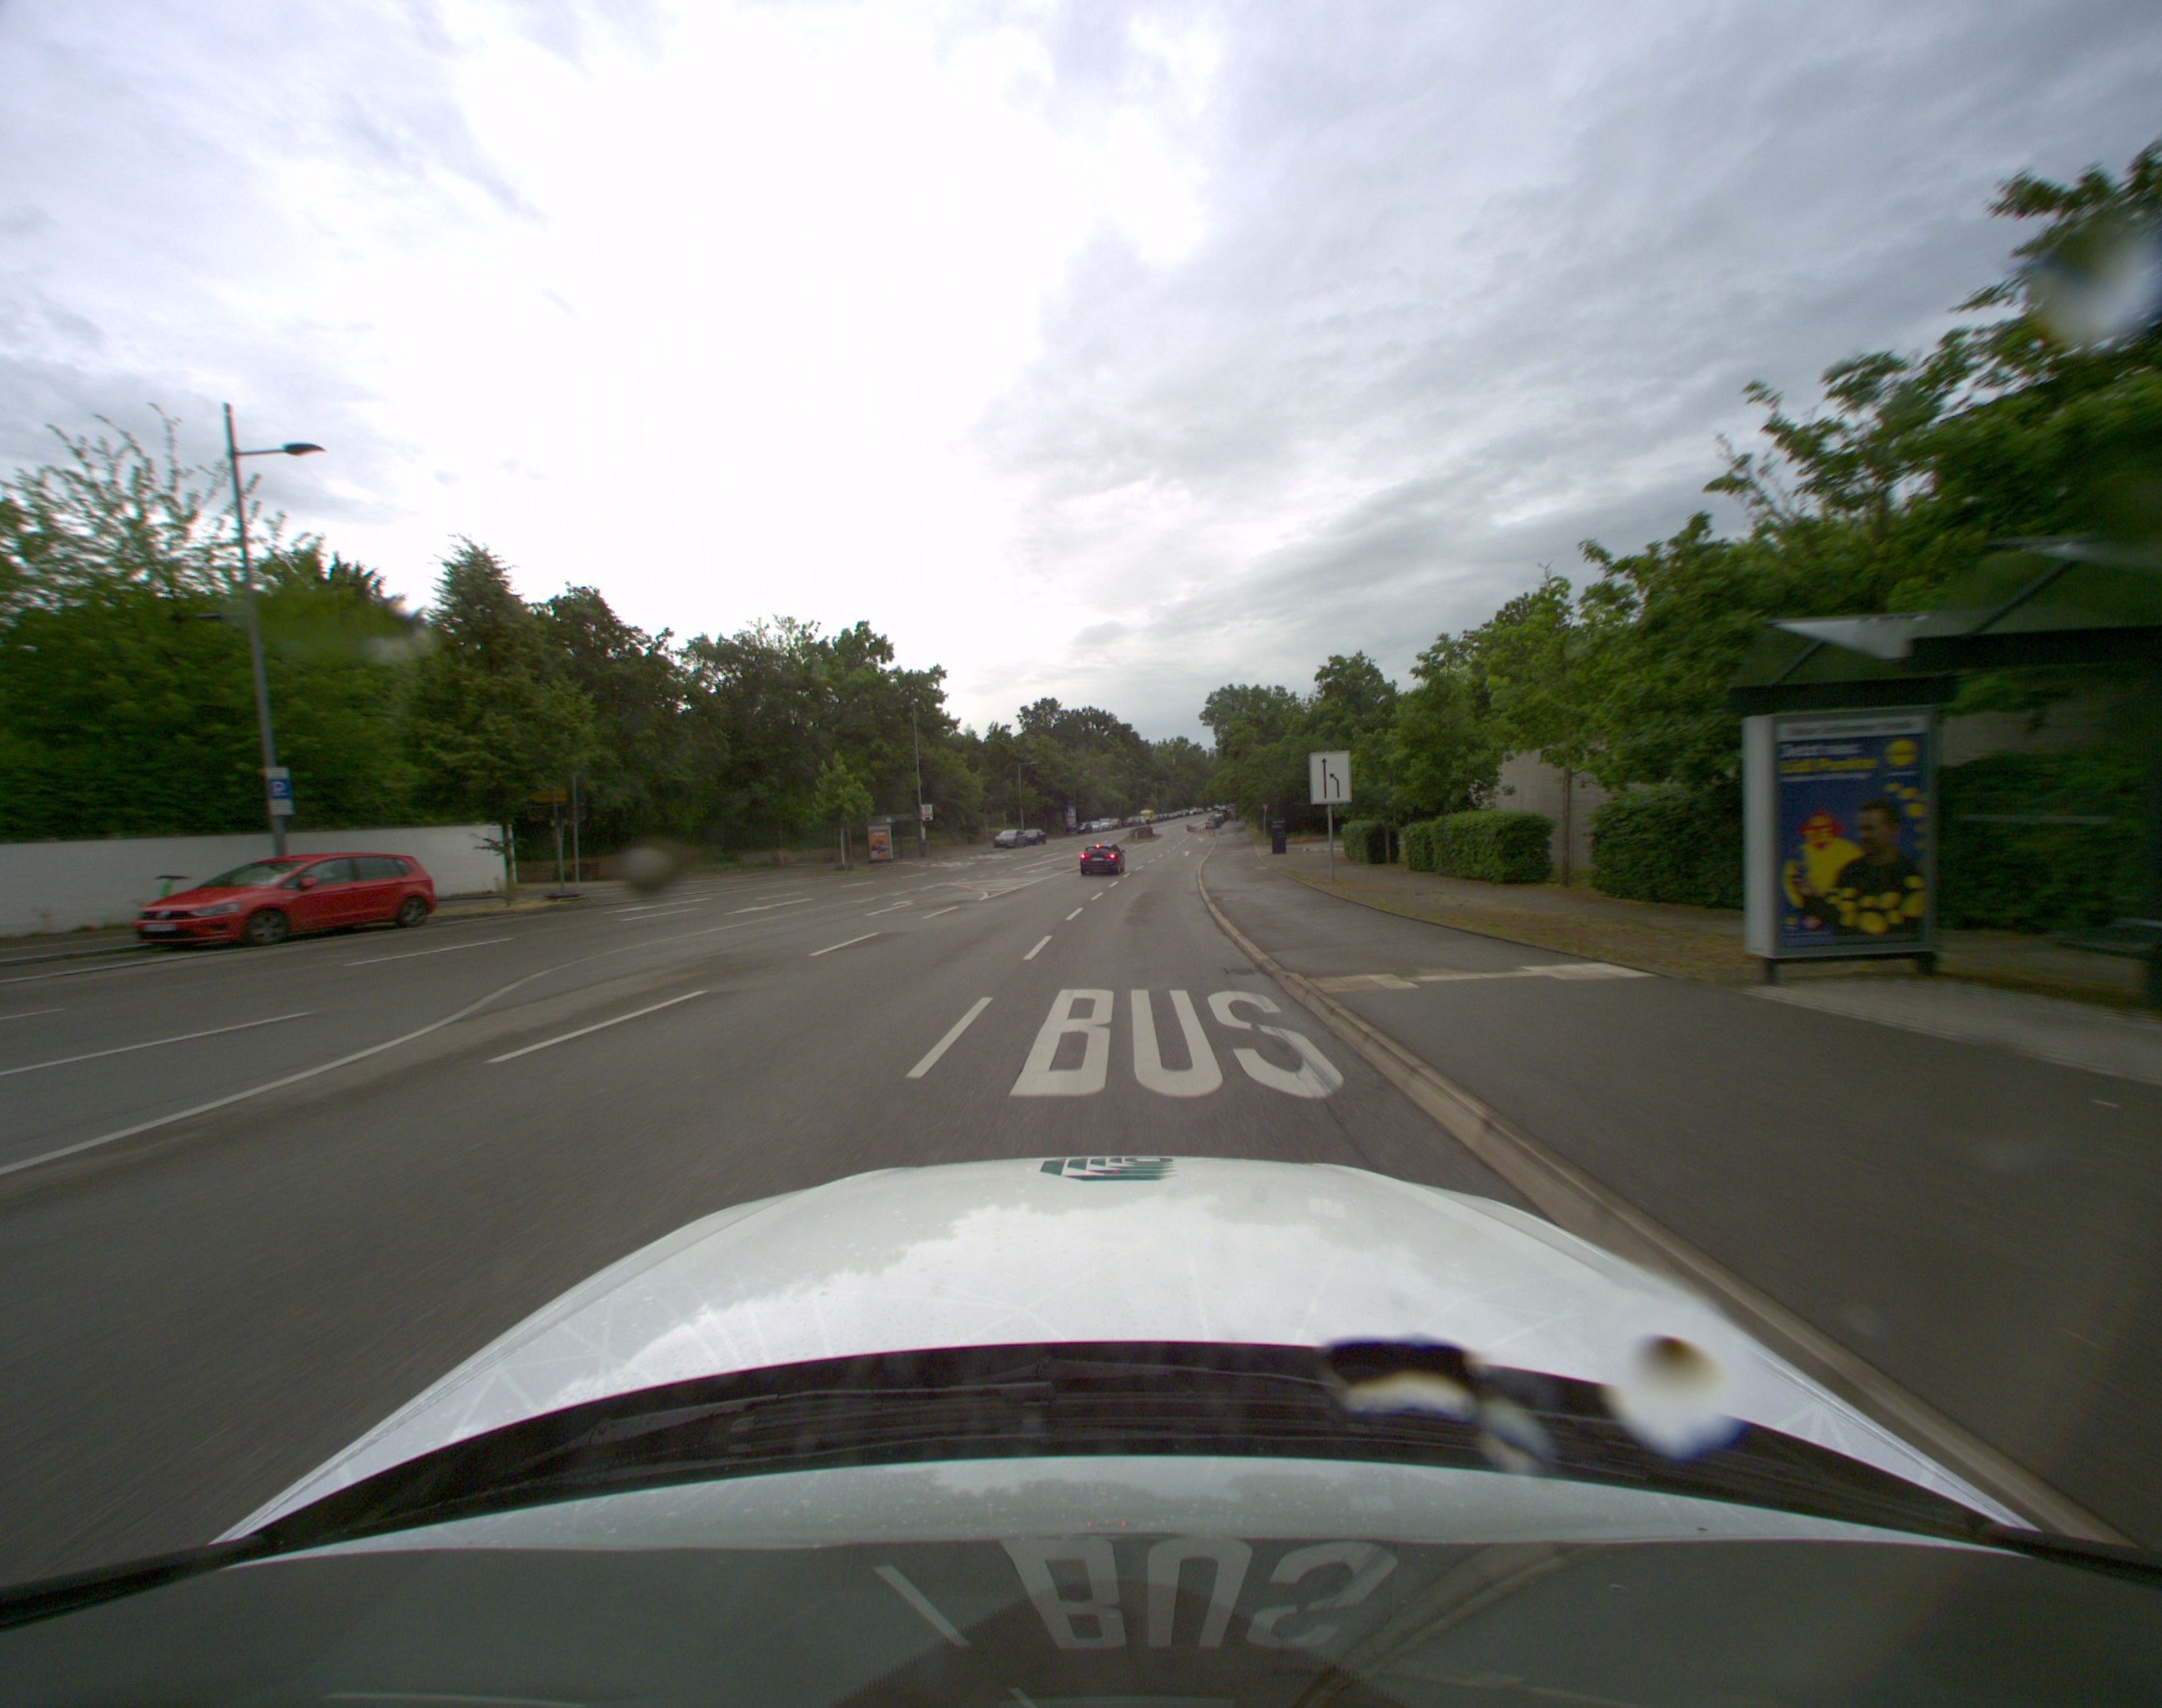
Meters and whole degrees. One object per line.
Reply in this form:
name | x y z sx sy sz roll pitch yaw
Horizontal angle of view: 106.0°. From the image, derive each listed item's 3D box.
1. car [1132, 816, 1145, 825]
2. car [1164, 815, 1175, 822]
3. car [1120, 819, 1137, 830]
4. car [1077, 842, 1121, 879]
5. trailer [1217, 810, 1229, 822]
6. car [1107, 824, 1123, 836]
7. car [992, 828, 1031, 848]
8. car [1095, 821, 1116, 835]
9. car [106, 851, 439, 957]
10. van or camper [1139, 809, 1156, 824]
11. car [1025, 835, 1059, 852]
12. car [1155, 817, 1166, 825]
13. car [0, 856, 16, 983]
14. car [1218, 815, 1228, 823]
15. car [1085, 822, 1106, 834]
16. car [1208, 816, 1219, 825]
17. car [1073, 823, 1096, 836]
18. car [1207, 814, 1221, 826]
car | 10.272 -5.979 144.145 1.606 1.448 3.672 -2 3 14
car | 19.145 -7.753 175.959 1.856 1.303 4.488 -1 3 14
car | 7.809 -4.878 133.957 1.905 1.616 4.509 -2 3 14
car | 0.899 0.256 38.775 1.872 1.465 4.006 0 4 4
trailer | 27.543 -7.366 157.779 1.892 2.247 4.787 -1 3 13
car | 5.187 -3.669 123.198 1.720 1.648 4.586 -1 3 11
car | -5.926 -1.370 70.042 1.828 1.589 4.947 0 2 13
car | 3.497 -3.743 116.226 1.979 1.765 4.980 -1 3 13
car | -14.603 0.792 15.128 1.657 1.586 4.224 -2 1 5
van or camper | 12.441 -6.979 151.402 2.128 2.626 5.707 -1 3 15
car | -3.598 -1.033 76.294 1.893 1.414 4.801 0 2 13
car | 16.272 -6.763 167.178 1.591 1.509 3.994 -1 3 15
car | -15.155 0.894 8.360 1.755 1.653 4.892 0 1 5
car | 26.373 -6.463 151.166 1.810 1.485 4.214 -1 2 11
car | 1.981 -3.509 110.148 1.706 1.459 4.727 -1 3 14
car | 21.412 -5.422 131.469 1.550 1.460 3.688 0 3 11
car | 0.448 -3.121 104.382 1.736 1.444 4.608 -1 3 16
car | 17.900 -4.620 109.881 1.811 1.614 4.264 -1 3 9
